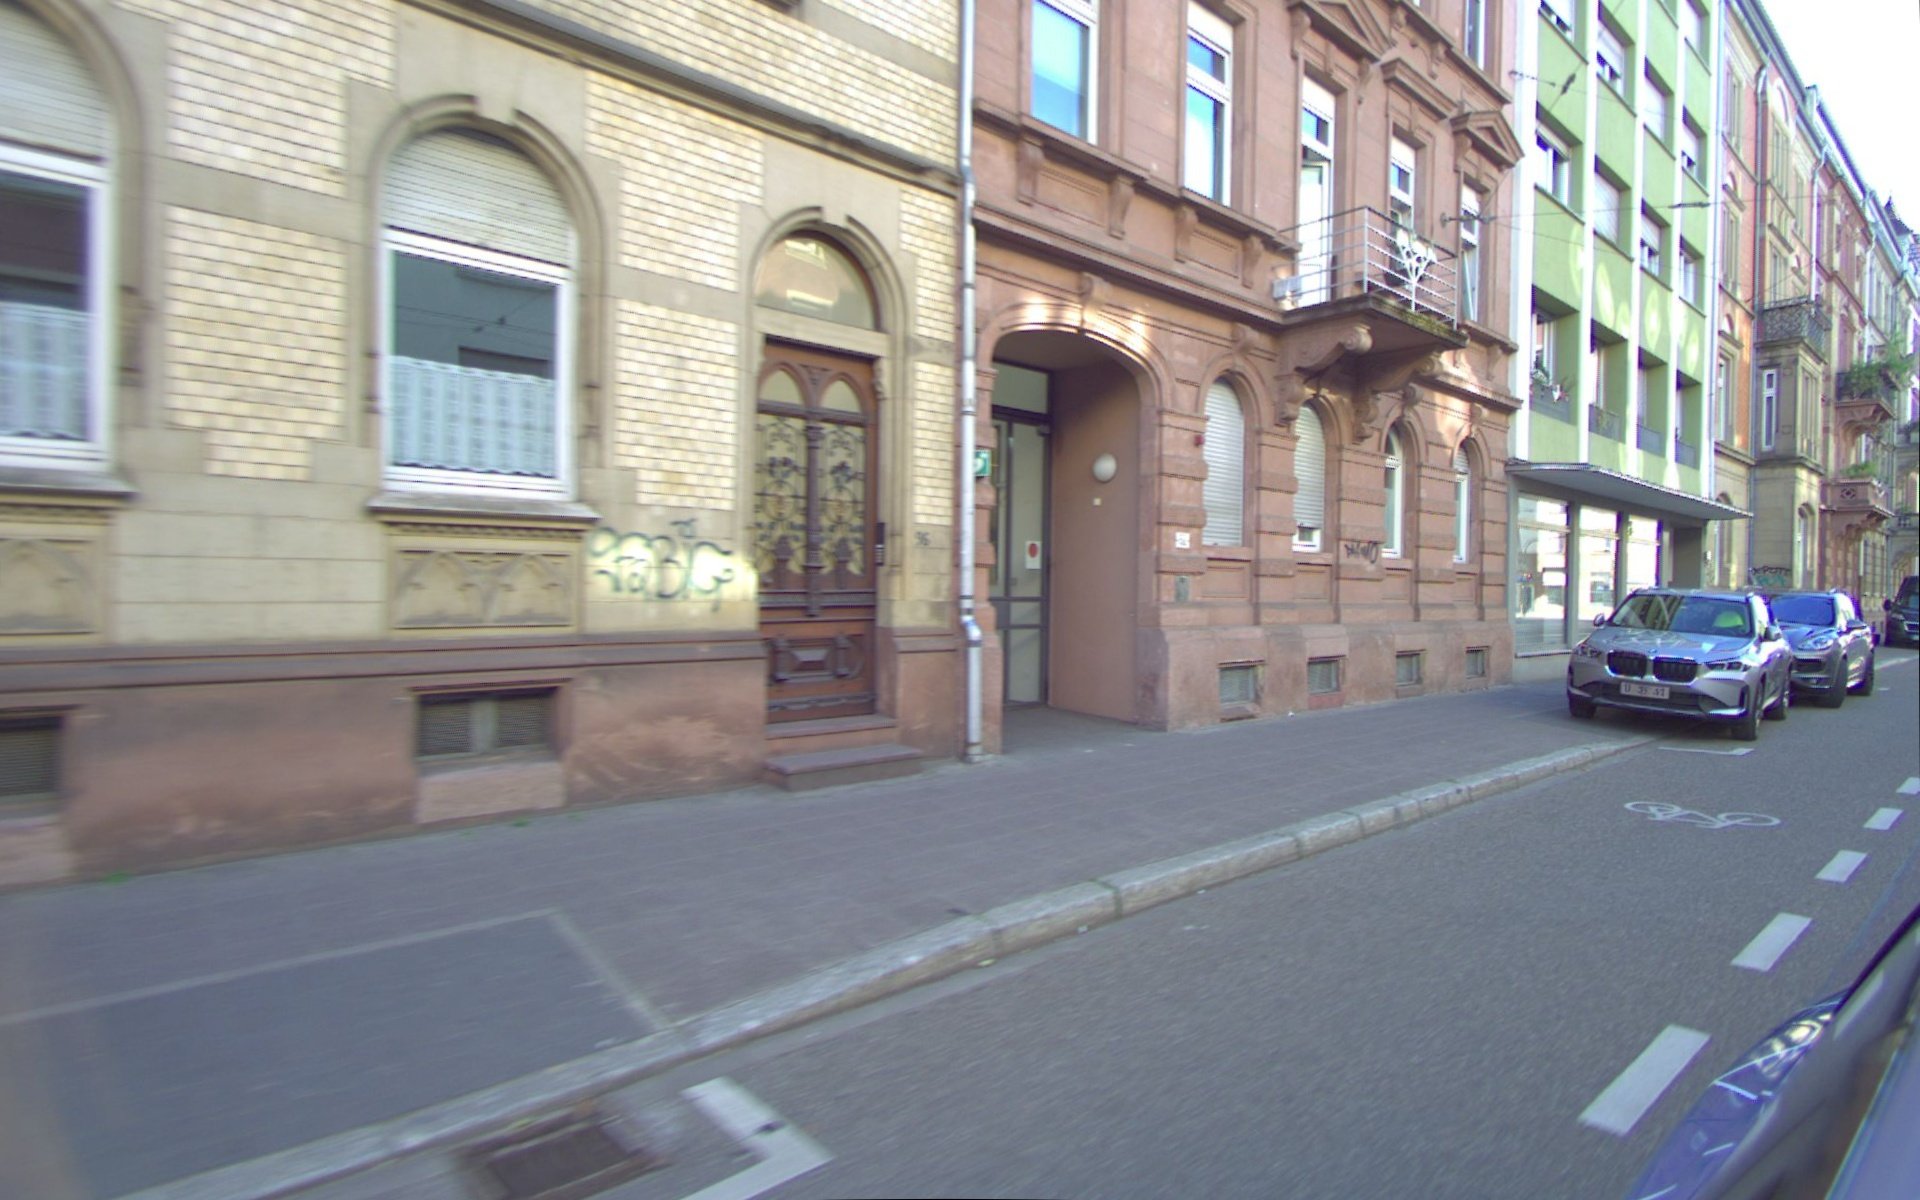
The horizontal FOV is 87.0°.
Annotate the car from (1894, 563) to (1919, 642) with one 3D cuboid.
[{"bbox_3d":[33.144,0.050,33.811,5.751,2.524,2.128,-1,1,-40],"label":"car"}]

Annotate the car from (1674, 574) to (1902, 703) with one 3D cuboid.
[{"bbox_3d":[13.186,0.480,16.003,4.703,1.635,1.998,-1,4,-42],"label":"car"}]

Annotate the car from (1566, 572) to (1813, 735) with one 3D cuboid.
[{"bbox_3d":[9.146,0.514,12.543,1.866,1.667,4.330,0,1,45],"label":"car"}]
